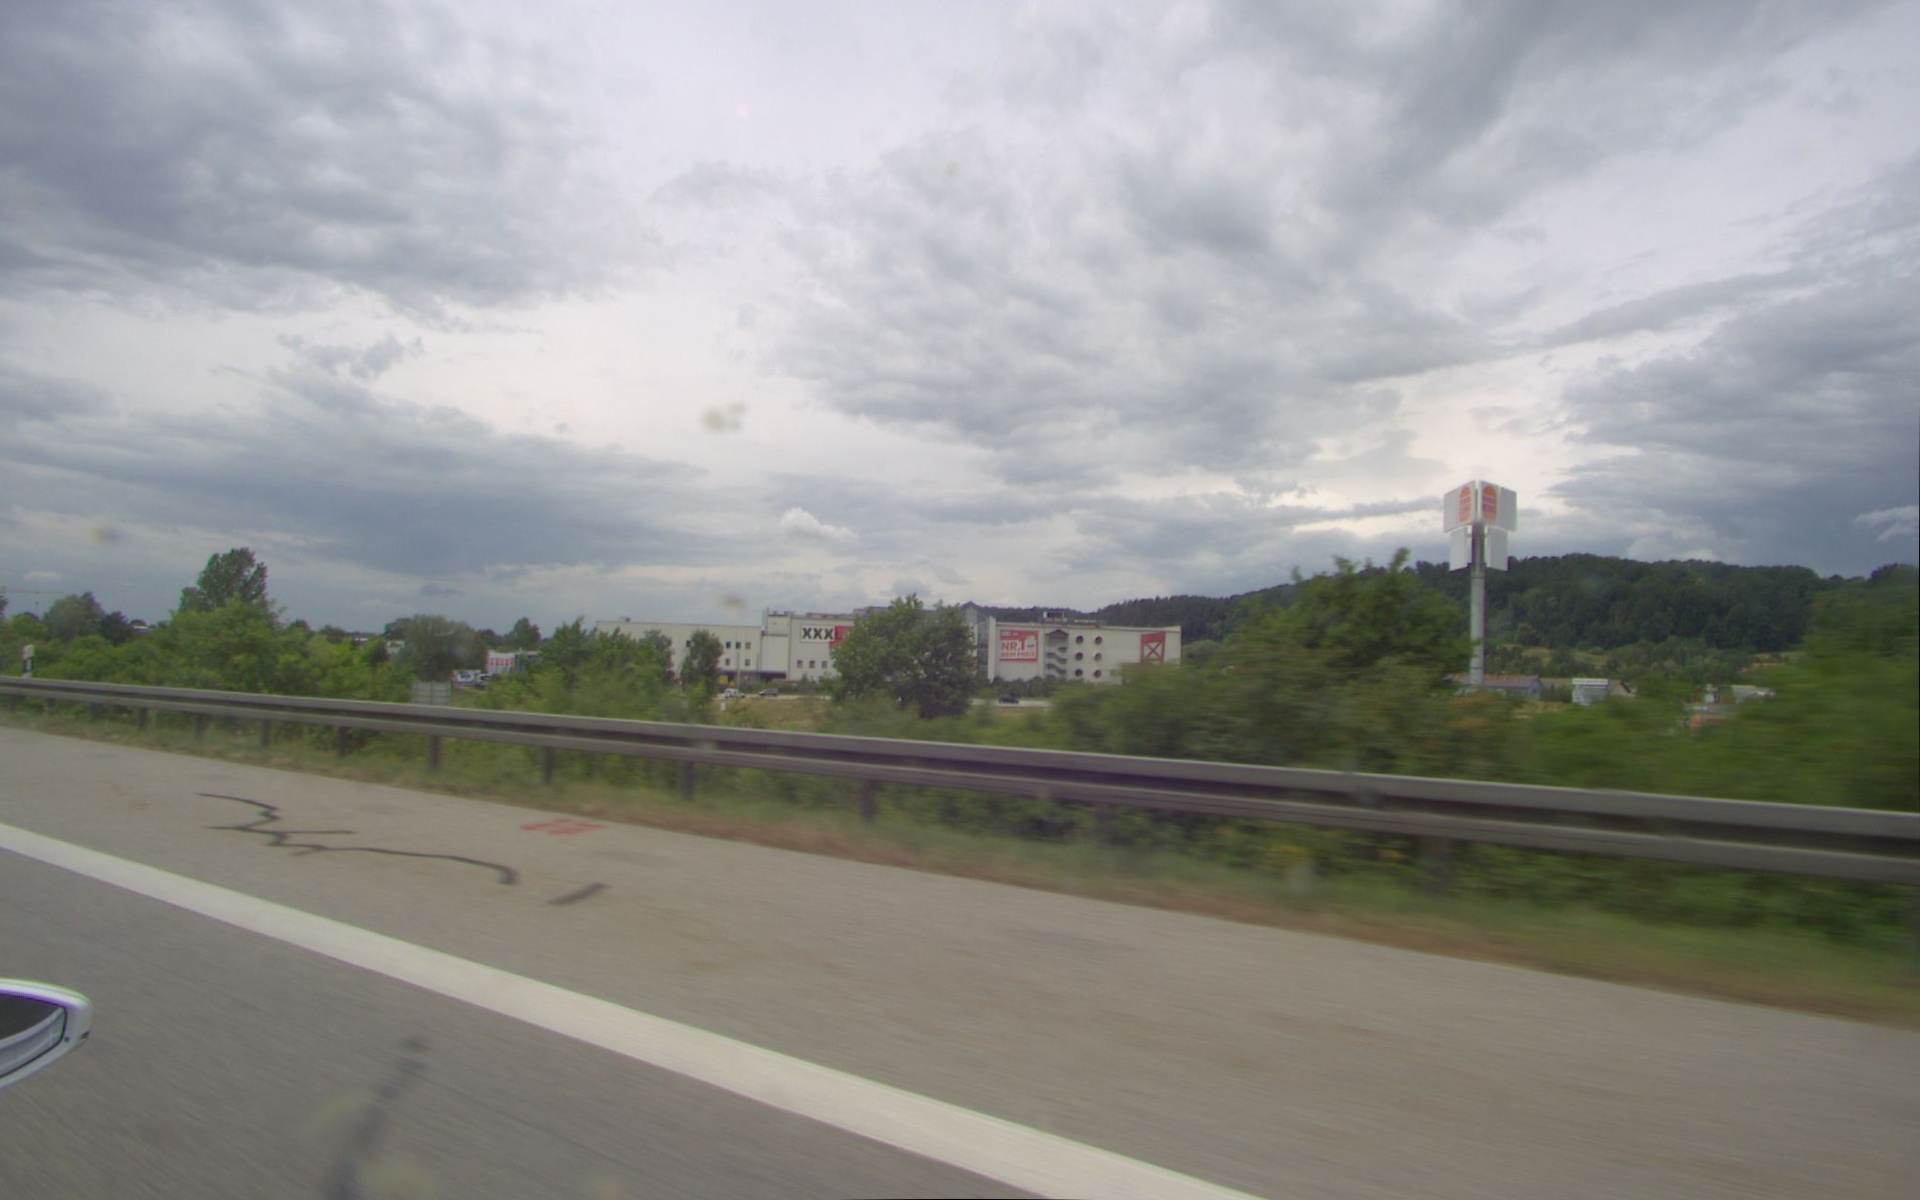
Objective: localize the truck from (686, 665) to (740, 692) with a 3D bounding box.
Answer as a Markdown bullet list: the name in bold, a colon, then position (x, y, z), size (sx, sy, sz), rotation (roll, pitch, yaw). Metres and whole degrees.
- **truck**: position (-50.689, 16.092, 206.025), size (10.320, 4.685, 2.279), rotation (5, -3, -11)

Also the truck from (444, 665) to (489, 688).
- **truck**: position (-93.899, 14.502, 190.535), size (7.178, 3.776, 2.001), rotation (5, -3, -5)
